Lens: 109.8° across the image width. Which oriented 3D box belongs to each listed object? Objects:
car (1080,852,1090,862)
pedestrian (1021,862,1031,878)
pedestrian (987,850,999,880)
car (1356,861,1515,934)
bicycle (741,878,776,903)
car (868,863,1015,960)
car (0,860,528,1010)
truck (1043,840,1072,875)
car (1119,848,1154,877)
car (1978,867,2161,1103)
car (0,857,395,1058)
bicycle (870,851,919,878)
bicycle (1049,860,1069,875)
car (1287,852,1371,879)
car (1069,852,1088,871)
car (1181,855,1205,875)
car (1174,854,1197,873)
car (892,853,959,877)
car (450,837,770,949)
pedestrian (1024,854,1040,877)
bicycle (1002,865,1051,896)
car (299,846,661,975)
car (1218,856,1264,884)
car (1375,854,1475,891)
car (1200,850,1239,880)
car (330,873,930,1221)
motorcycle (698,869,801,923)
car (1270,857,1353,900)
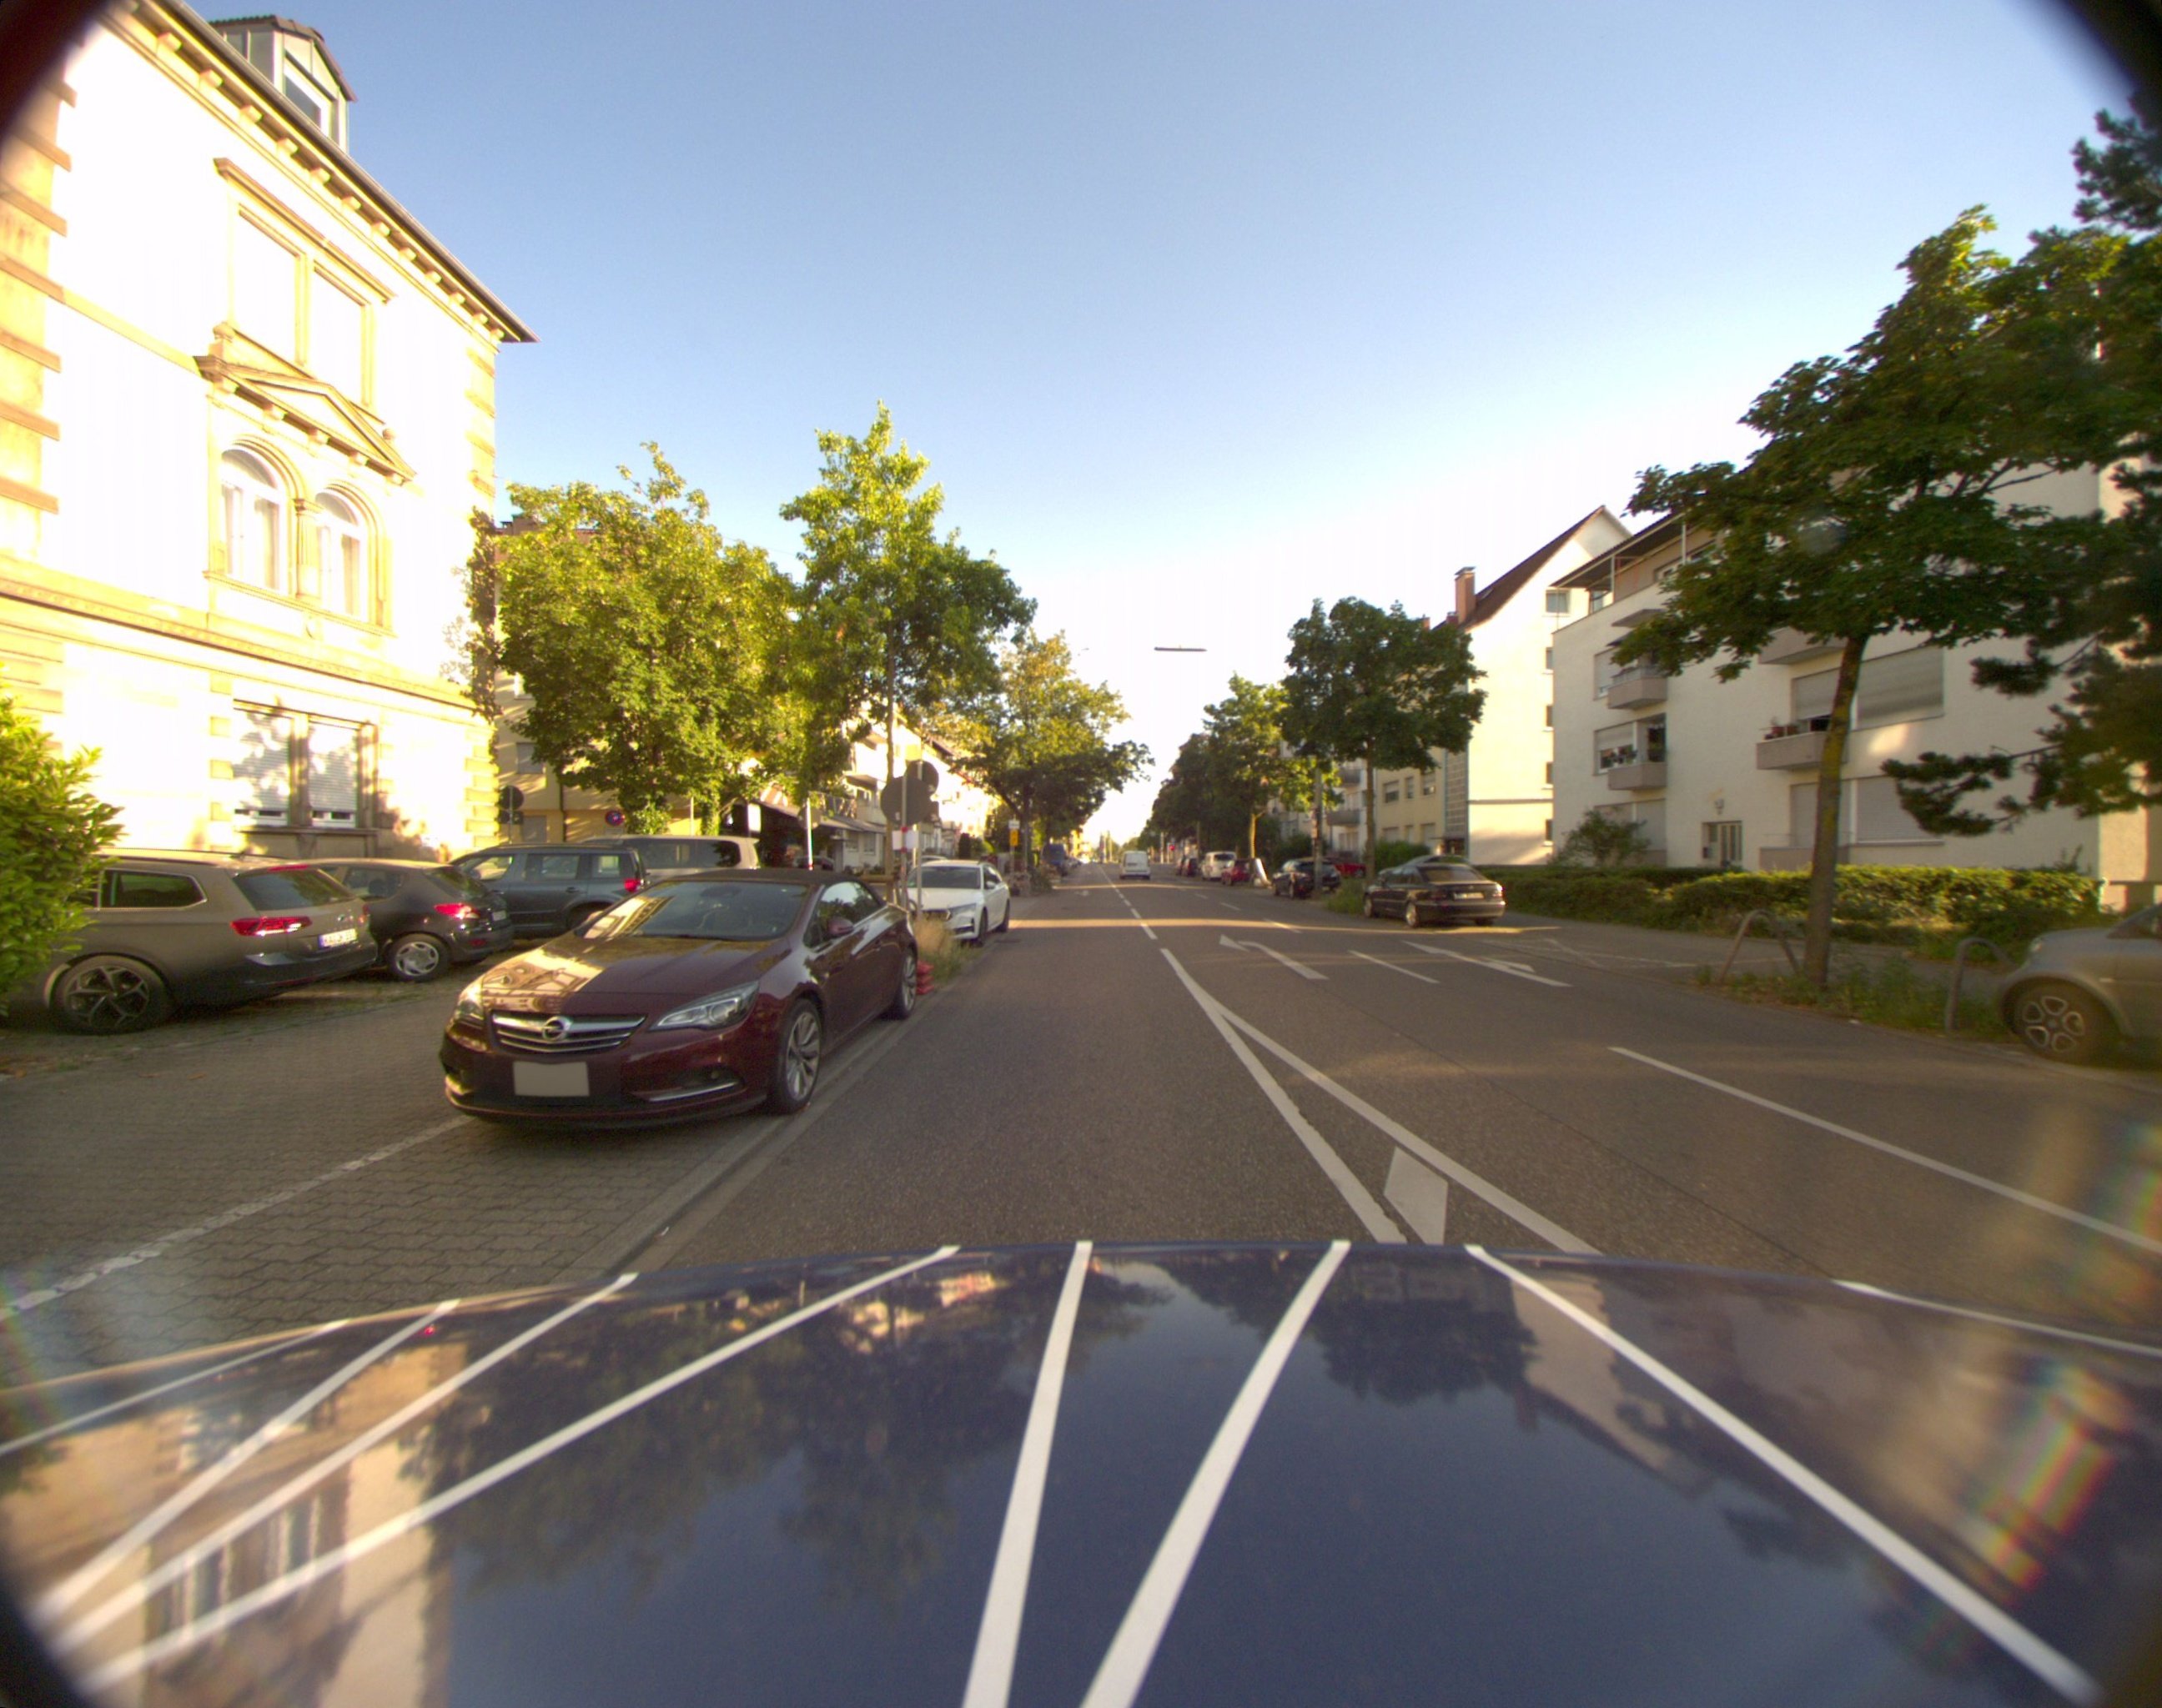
[{"bbox_3d":[0.600,0.485,124.447,1.596,1.696,4.000,0,0,1],"label":"car"},{"bbox_3d":[-3.556,1.019,49.040,0.553,1.053,0.532,0,1,2],"label":"pedestrian"},{"bbox_3d":[-5.158,0.656,44.488,0.619,1.761,0.562,0,0,2],"label":"pedestrian"},{"bbox_3d":[7.950,0.895,17.547,1.641,1.399,4.444,0,0,0],"label":"car"},{"bbox_3d":[-10.824,1.211,25.524,0.486,0.763,1.531,0,0,2],"label":"bicycle"},{"bbox_3d":[-2.404,0.942,14.340,1.825,1.469,4.621,0,0,1],"label":"car"},{"bbox_3d":[-9.160,0.843,8.821,4.105,1.432,1.713,2,0,-22],"label":"car"},{"bbox_3d":[-1.823,0.261,60.666,1.998,2.629,5.616,0,0,1],"label":"truck"},{"bbox_3d":[3.590,0.550,50.053,1.893,1.793,4.430,2,0,-1],"label":"car"},{"bbox_3d":[8.030,0.889,4.751,1.577,1.546,2.749,0,0,0],"label":"car"},{"bbox_3d":[-9.019,0.801,6.521,4.255,1.502,1.789,2,0,-17],"label":"car"},{"bbox_3d":[-10.159,0.558,41.439,2.459,1.433,0.928,0,1,-1],"label":"bicycle"},{"bbox_3d":[-1.623,1.011,57.076,1.469,1.058,0.445,0,1,1],"label":"bicycle"},{"bbox_3d":[15.045,0.684,46.182,4.563,1.397,1.739,-2,1,-9],"label":"car"},{"bbox_3d":[-0.221,0.695,71.983,1.704,1.739,4.000,0,0,2],"label":"car"},{"bbox_3d":[8.687,0.831,59.046,1.407,1.397,3.683,-2,1,2],"label":"car"},{"bbox_3d":[8.660,0.763,63.142,1.407,1.456,3.683,-2,1,2],"label":"car"},{"bbox_3d":[-9.695,0.673,47.574,3.878,1.496,1.575,0,0,-4],"label":"car"},{"bbox_3d":[-8.783,0.637,14.693,4.946,1.888,1.916,0,0,-28],"label":"car"},{"bbox_3d":[-3.078,0.740,47.743,0.917,1.435,0.811,0,1,-1],"label":"pedestrian"},{"bbox_3d":[-2.199,1.049,30.470,1.894,1.155,0.616,2,1,28],"label":"bicycle"},{"bbox_3d":[-8.799,0.747,11.655,4.106,1.689,1.783,0,0,-29],"label":"car"},{"bbox_3d":[8.589,0.828,40.966,1.740,1.455,3.636,0,0,1],"label":"car"},{"bbox_3d":[14.408,0.746,31.992,3.467,1.515,1.686,0,0,2],"label":"car"},{"bbox_3d":[8.705,0.645,47.936,1.740,1.799,4.192,0,0,1],"label":"car"},{"bbox_3d":[-2.530,0.944,5.789,1.761,1.412,4.614,2,0,0],"label":"car"},{"bbox_3d":[-8.009,0.998,18.445,2.163,1.232,0.789,0,1,-9],"label":"motorcycle"},{"bbox_3d":[8.444,0.848,28.247,1.862,1.477,4.000,0,0,0],"label":"car"}]
